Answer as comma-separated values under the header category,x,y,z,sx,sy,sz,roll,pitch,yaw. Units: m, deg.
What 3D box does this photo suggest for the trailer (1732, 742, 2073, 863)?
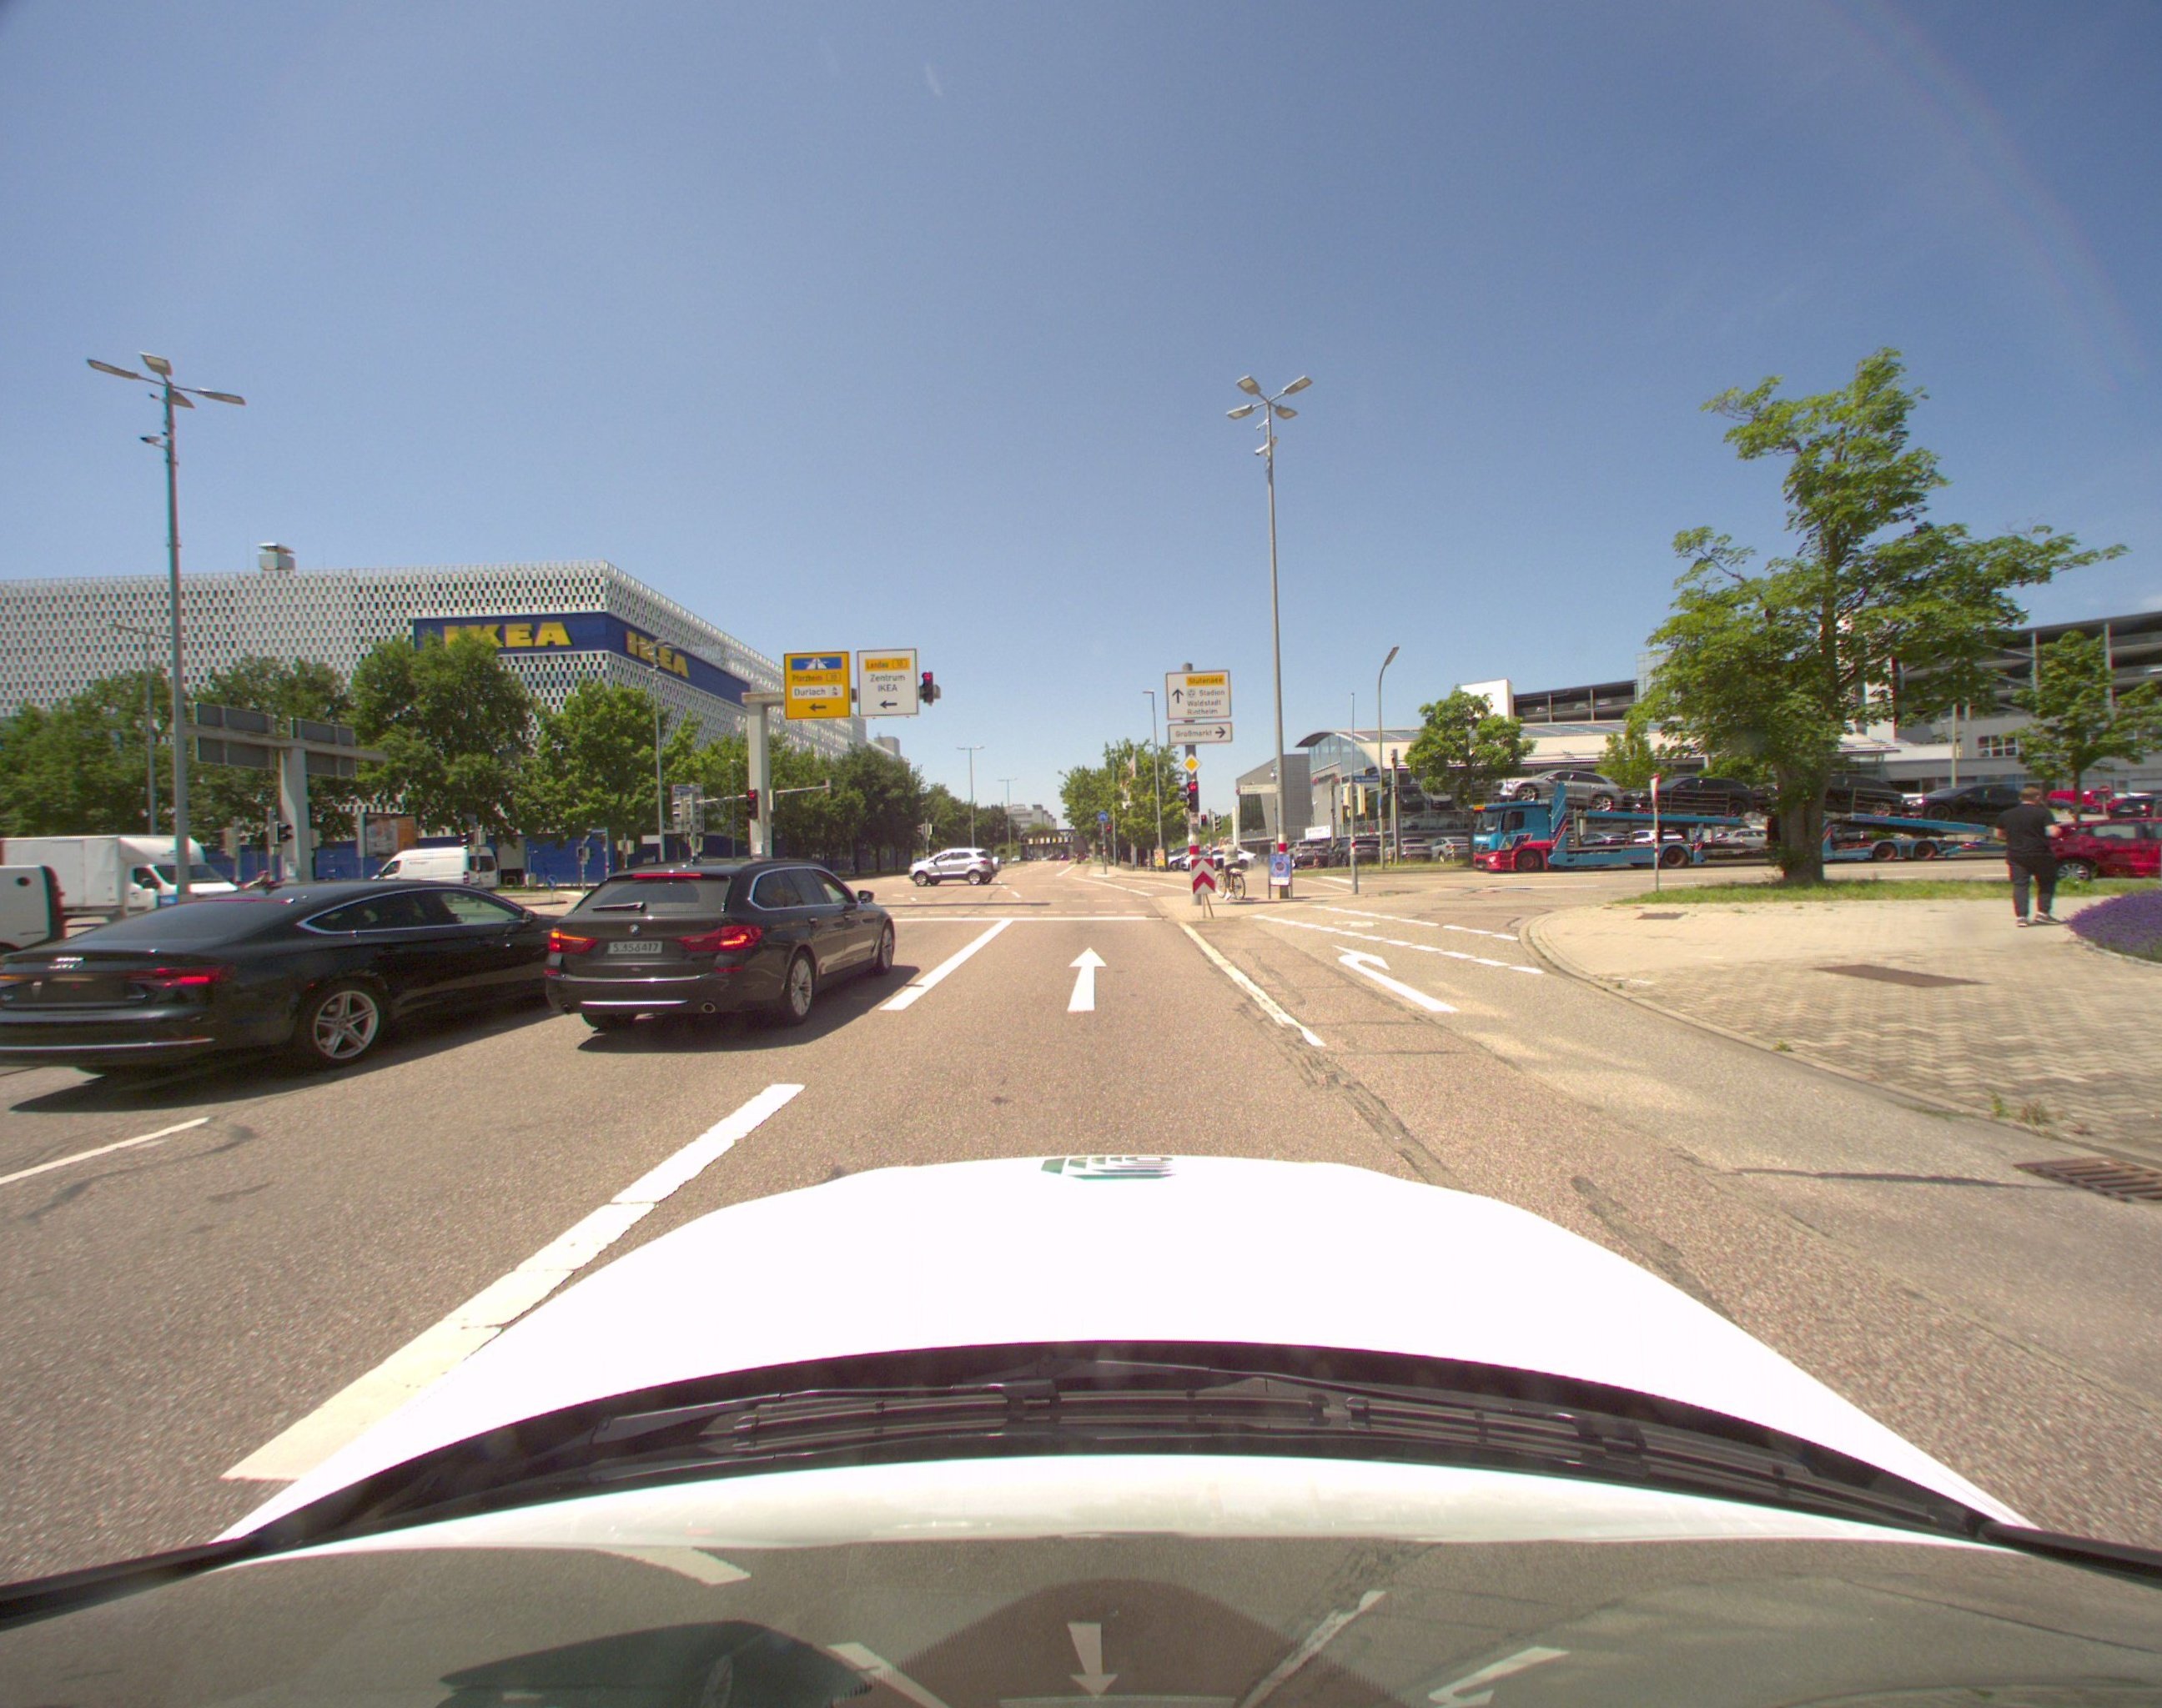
category,x,y,z,sx,sy,sz,roll,pitch,yaw
trailer,31.638,-1.903,31.756,9.564,4.081,3.100,-2,1,5

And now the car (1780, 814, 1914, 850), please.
category,x,y,z,sx,sy,sz,roll,pitch,yaw
car,39.869,-1.142,42.531,4.706,1.639,1.844,-2,1,23

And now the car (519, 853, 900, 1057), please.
category,x,y,z,sx,sy,sz,roll,pitch,yaw
car,-3.295,0.753,8.410,1.794,1.466,4.622,-1,0,0

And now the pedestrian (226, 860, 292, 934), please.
category,x,y,z,sx,sy,sz,roll,pitch,yaw
pedestrian,-23.355,1.210,23.154,0.903,2.013,0.863,-2,0,-5

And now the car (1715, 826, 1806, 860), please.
category,x,y,z,sx,sy,sz,roll,pitch,yaw
car,38.960,-0.624,46.794,3.665,1.777,1.759,-2,0,27

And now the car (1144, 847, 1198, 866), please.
category,x,y,z,sx,sy,sz,roll,pitch,yaw
car,8.325,0.240,75.703,4.728,1.457,1.999,-3,1,-1

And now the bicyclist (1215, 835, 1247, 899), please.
category,x,y,z,sx,sy,sz,roll,pitch,yaw
bicyclist,4.232,0.354,23.018,0.732,1.749,0.753,-1,1,-4

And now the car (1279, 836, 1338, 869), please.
category,x,y,z,sx,sy,sz,roll,pitch,yaw
car,12.205,-0.105,43.961,1.987,1.639,4.269,-2,1,0

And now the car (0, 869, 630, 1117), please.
category,x,y,z,sx,sy,sz,roll,pitch,yaw
car,-6.253,0.903,7.245,1.741,1.390,4.536,-2,0,3

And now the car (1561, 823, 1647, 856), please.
category,x,y,z,sx,sy,sz,roll,pitch,yaw
car,28.311,-0.779,44.259,1.821,1.639,4.475,-2,1,0

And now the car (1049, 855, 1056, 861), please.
category,x,y,z,sx,sy,sz,roll,pitch,yaw
car,-7.873,1.050,227.656,1.766,1.728,4.000,-2,0,0

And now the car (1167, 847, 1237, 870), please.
category,x,y,z,sx,sy,sz,roll,pitch,yaw
car,8.770,0.323,59.145,4.728,1.457,1.999,-2,1,-1

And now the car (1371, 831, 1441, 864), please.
category,x,y,z,sx,sy,sz,roll,pitch,yaw
car,17.492,-0.377,44.066,1.987,1.639,4.441,-2,1,0

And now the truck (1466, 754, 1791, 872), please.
category,x,y,z,sx,sy,sz,roll,pitch,yaw
truck,21.579,-1.553,32.698,10.565,4.082,3.106,-2,1,5

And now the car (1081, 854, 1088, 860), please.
category,x,y,z,sx,sy,sz,roll,pitch,yaw
car,1.020,0.867,235.283,1.766,1.728,4.000,-2,0,0

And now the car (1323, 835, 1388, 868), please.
category,x,y,z,sx,sy,sz,roll,pitch,yaw
car,14.794,-0.155,44.229,1.987,1.639,4.558,-2,1,0

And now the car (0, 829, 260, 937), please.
category,x,y,z,sx,sy,sz,roll,pitch,yaw
car,-34.201,0.977,29.350,6.877,3.485,2.184,-2,2,1

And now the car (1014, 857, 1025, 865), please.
category,x,y,z,sx,sy,sz,roll,pitch,yaw
car,-14.729,1.631,195.574,1.918,1.665,4.092,-2,0,3

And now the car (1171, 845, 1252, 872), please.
category,x,y,z,sx,sy,sz,roll,pitch,yaw
car,8.084,0.279,50.775,4.723,1.457,2.001,-2,-1,2

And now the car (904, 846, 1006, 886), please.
category,x,y,z,sx,sy,sz,roll,pitch,yaw
car,-5.720,0.540,37.186,4.168,1.652,1.720,-2,0,11

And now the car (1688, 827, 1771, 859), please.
category,x,y,z,sx,sy,sz,roll,pitch,yaw
car,39.635,-0.653,49.917,3.721,1.772,1.781,-2,0,31

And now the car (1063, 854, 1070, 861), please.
category,x,y,z,sx,sy,sz,roll,pitch,yaw
car,-4.237,1.040,235.523,1.766,1.728,4.000,-2,0,0

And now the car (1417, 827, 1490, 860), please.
category,x,y,z,sx,sy,sz,roll,pitch,yaw
car,20.148,-0.583,44.276,1.879,1.639,4.525,-2,1,0

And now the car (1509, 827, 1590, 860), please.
category,x,y,z,sx,sy,sz,roll,pitch,yaw
car,25.461,-0.574,44.451,1.822,1.639,4.473,-2,1,0

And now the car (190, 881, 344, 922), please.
category,x,y,z,sx,sy,sz,roll,pitch,yaw
car,-32.005,1.851,32.093,4.266,1.342,1.777,-2,1,2

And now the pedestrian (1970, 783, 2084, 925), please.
category,x,y,z,sx,sy,sz,roll,pitch,yaw
pedestrian,12.943,-0.003,11.151,0.870,1.845,0.766,-3,0,-27

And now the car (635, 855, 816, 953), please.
category,x,y,z,sx,sy,sz,roll,pitch,yaw
car,-6.264,0.789,14.876,1.795,1.494,3.993,-1,0,-5

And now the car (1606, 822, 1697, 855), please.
category,x,y,z,sx,sy,sz,roll,pitch,yaw
car,31.038,-0.855,44.477,1.821,1.639,4.475,-2,1,0

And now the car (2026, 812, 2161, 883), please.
category,x,y,z,sx,sy,sz,roll,pitch,yaw
car,22.705,-0.169,16.915,1.619,1.435,3.953,-2,0,-40

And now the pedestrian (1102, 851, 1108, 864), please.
category,x,y,z,sx,sy,sz,roll,pitch,yaw
pedestrian,2.841,0.403,97.467,0.665,1.510,0.736,-2,0,0

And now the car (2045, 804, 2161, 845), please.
category,x,y,z,sx,sy,sz,roll,pitch,yaw
car,54.978,-1.544,43.583,1.987,2.013,4.000,-2,0,0

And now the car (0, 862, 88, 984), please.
category,x,y,z,sx,sy,sz,roll,pitch,yaw
car,-17.851,1.136,11.289,1.820,1.850,4.853,-2,1,9

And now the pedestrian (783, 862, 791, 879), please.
category,x,y,z,sx,sy,sz,roll,pitch,yaw
pedestrian,-25.870,1.433,71.723,0.460,1.482,0.484,-2,-1,4

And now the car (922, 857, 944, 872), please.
category,x,y,z,sx,sy,sz,roll,pitch,yaw
car,-19.999,1.408,110.102,1.987,2.007,4.765,-2,0,1

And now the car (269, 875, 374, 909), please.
category,x,y,z,sx,sy,sz,roll,pitch,yaw
car,-34.972,1.724,37.549,3.352,1.357,1.626,-2,0,4

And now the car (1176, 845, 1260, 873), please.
category,x,y,z,sx,sy,sz,roll,pitch,yaw
car,8.077,0.295,48.373,4.723,1.457,2.001,-2,1,2

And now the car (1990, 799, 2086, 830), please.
category,x,y,z,sx,sy,sz,roll,pitch,yaw
car,63.797,-2.604,54.394,1.727,1.786,4.000,-2,0,0

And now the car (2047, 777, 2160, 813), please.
category,x,y,z,sx,sy,sz,roll,pitch,yaw
car,68.004,-3.894,54.266,1.988,2.013,4.348,-2,0,-2

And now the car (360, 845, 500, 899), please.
category,x,y,z,sx,sy,sz,roll,pitch,yaw
car,-32.632,0.893,40.934,5.467,2.566,2.002,-1,0,3

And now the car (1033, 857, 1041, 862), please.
category,x,y,z,sx,sy,sz,roll,pitch,yaw
car,-12.425,1.555,230.064,1.726,1.427,3.706,-4,0,0

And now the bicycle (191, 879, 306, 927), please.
category,x,y,z,sx,sy,sz,roll,pitch,yaw
bicycle,-23.622,1.380,23.155,2.089,1.212,0.995,-2,0,-6

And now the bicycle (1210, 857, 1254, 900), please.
category,x,y,z,sx,sy,sz,roll,pitch,yaw
bicycle,4.262,0.678,23.098,0.785,1.127,1.919,-1,1,-3

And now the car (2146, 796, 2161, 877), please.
category,x,y,z,sx,sy,sz,roll,pitch,yaw
car,26.359,-0.490,16.985,1.714,1.815,4.847,-2,0,-42
